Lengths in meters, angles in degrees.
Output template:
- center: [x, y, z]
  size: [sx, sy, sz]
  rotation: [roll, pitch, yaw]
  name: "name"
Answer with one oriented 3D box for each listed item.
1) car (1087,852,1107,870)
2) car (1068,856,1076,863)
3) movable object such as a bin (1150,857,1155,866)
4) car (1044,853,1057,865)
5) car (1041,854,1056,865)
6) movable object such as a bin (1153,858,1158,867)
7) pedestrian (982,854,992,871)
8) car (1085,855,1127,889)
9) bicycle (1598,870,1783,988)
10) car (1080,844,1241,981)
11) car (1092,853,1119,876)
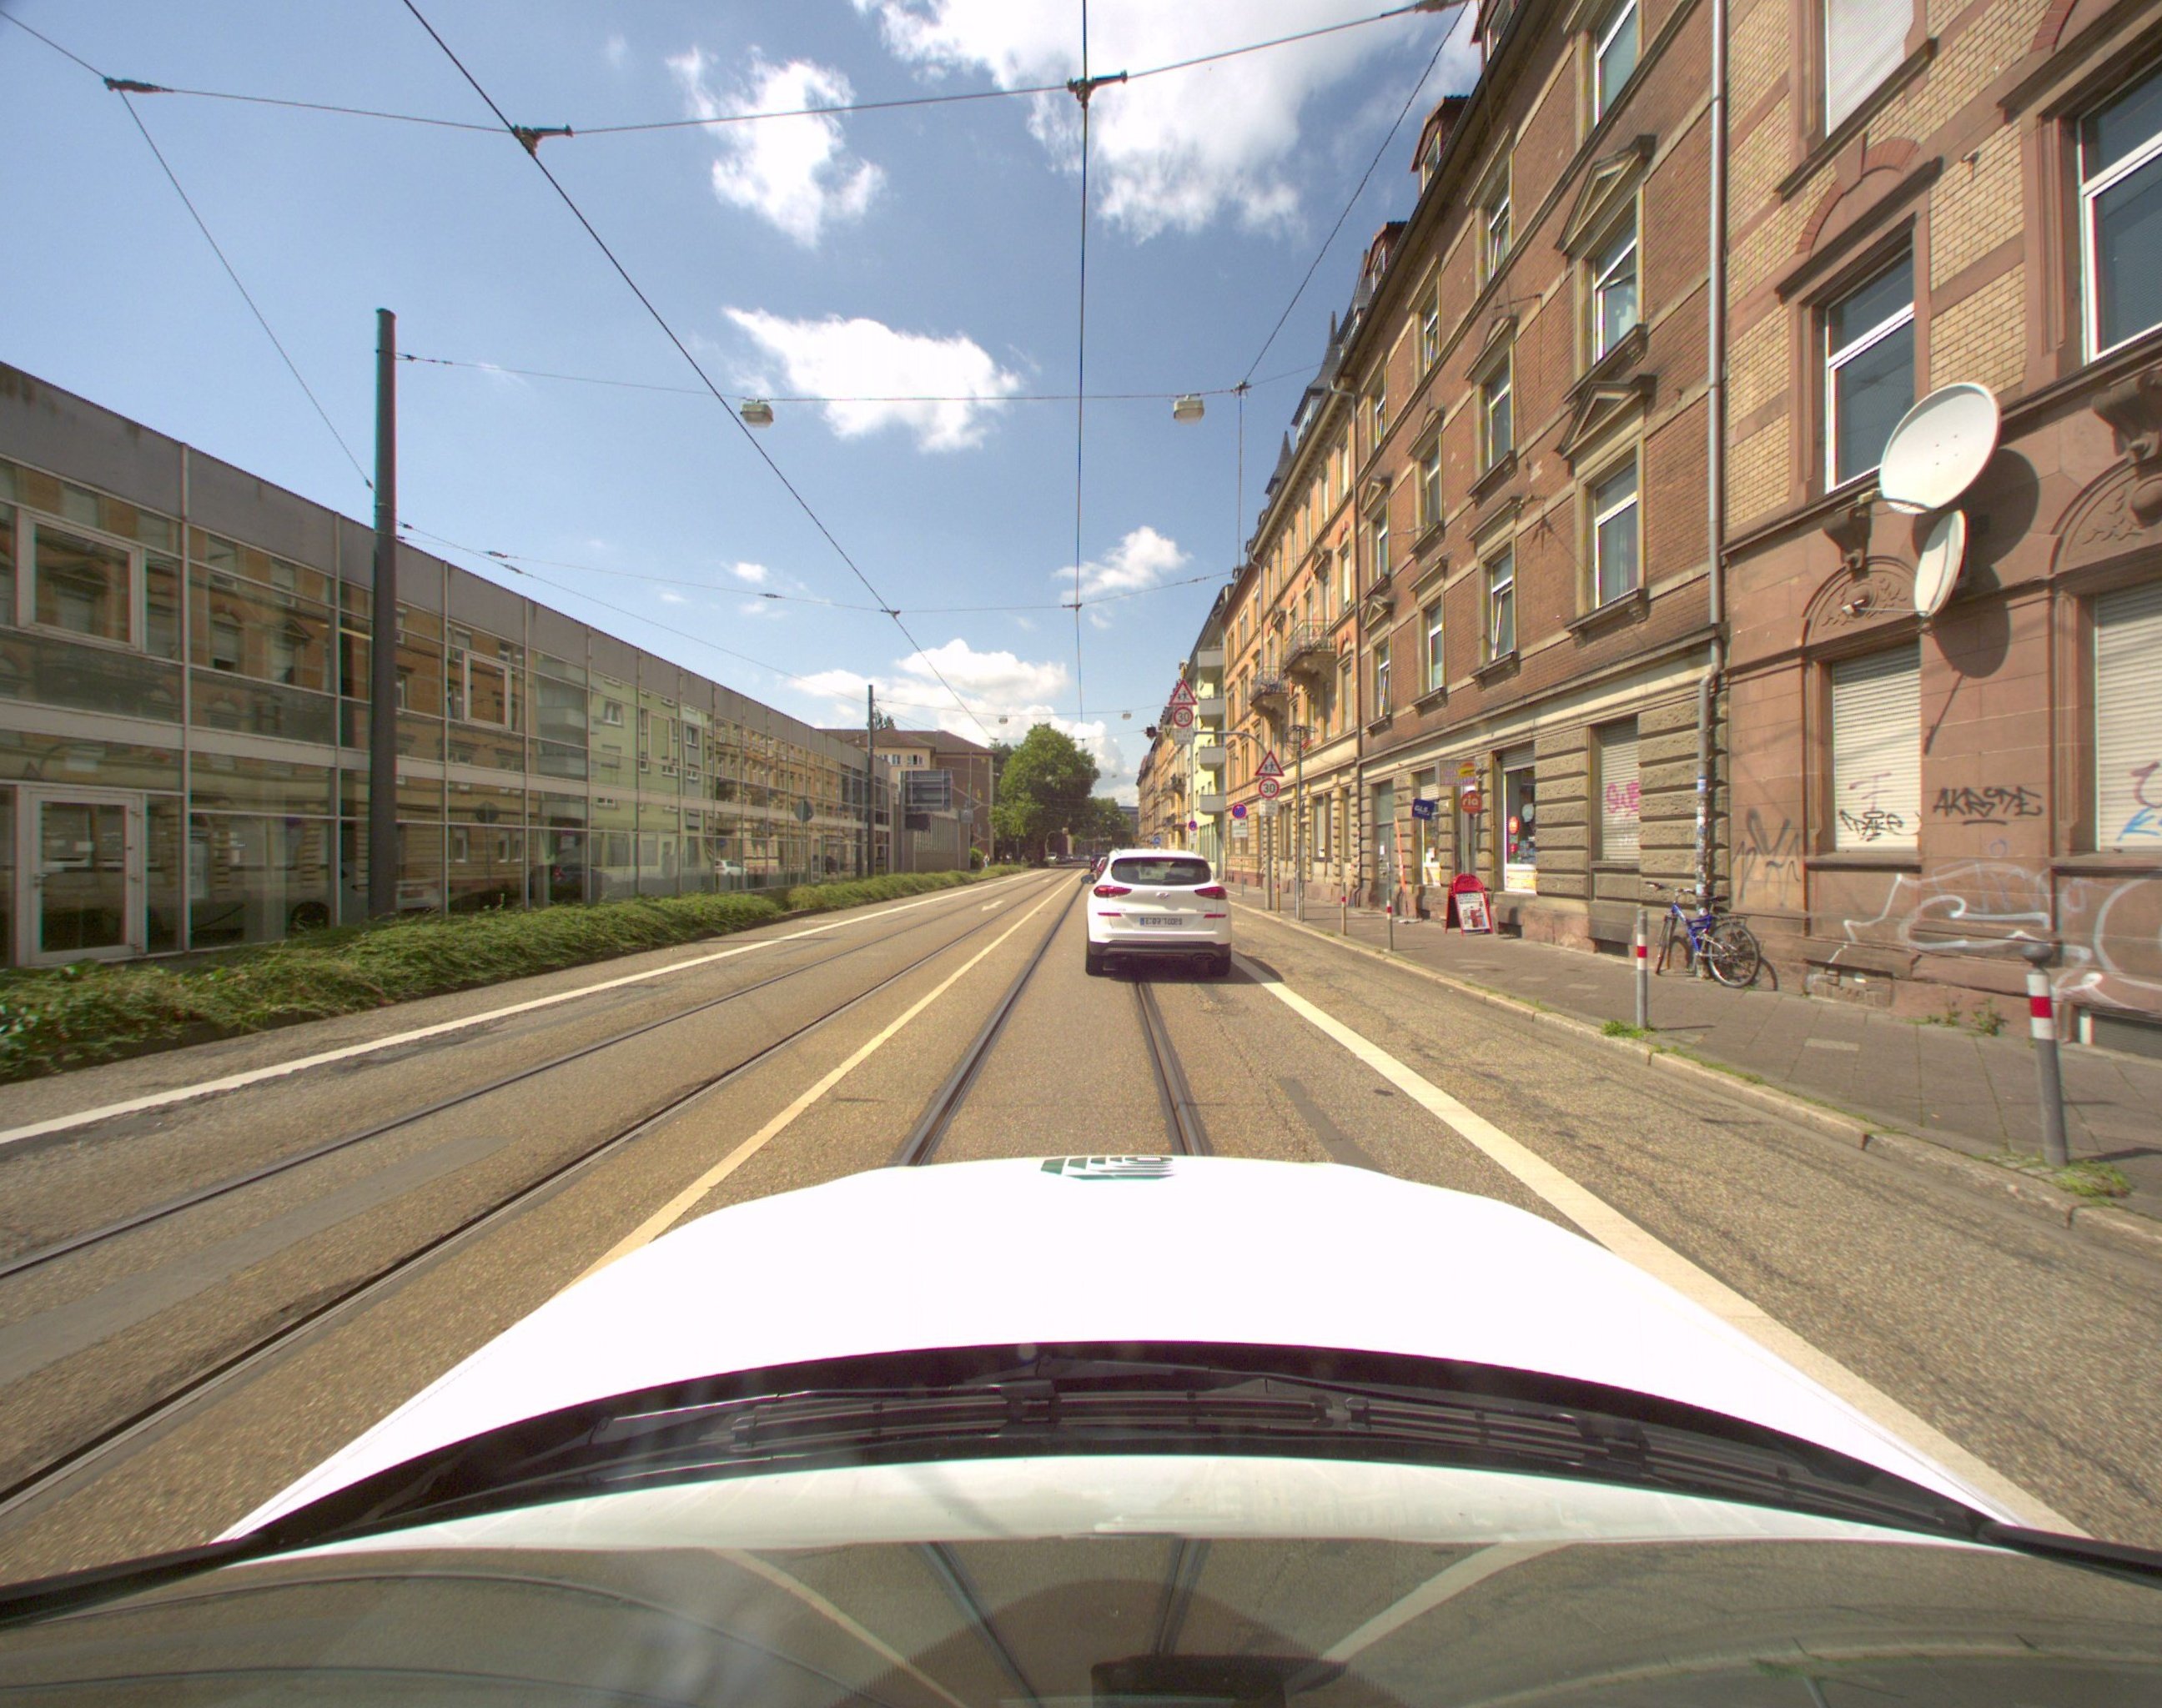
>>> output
- center: [1.490, 0.635, 75.934]
  size: [1.808, 1.662, 4.086]
  rotation: [0, 0, 1]
  name: "car"
- center: [-2.202, 1.269, 198.614]
  size: [1.944, 1.632, 3.998]
  rotation: [1, 0, -1]
  name: "car"
- center: [8.744, 0.910, 99.797]
  size: [0.610, 1.143, 0.639]
  rotation: [1, 0, 1]
  name: "movable object such as a bin"
- center: [-5.005, 0.754, 134.652]
  size: [1.943, 1.895, 4.566]
  rotation: [1, 0, 1]
  name: "car"
- center: [-5.104, 0.839, 128.480]
  size: [1.943, 1.632, 4.577]
  rotation: [1, 0, 1]
  name: "car"
- center: [8.969, 1.043, 98.361]
  size: [0.610, 1.143, 0.639]
  rotation: [1, 0, 1]
  name: "movable object such as a bin"
- center: [-10.094, 0.893, 87.702]
  size: [0.877, 1.865, 1.081]
  rotation: [-1, 0, 1]
  name: "pedestrian"
- center: [1.265, 0.824, 38.928]
  size: [1.806, 1.524, 4.090]
  rotation: [-1, 0, 4]
  name: "car"
- center: [7.050, 0.806, 9.585]
  size: [0.584, 1.178, 2.206]
  rotation: [-1, 0, 2]
  name: "bicycle"
- center: [0.958, 0.712, 11.873]
  size: [1.847, 1.634, 4.178]
  rotation: [1, 0, -1]
  name: "car"
- center: [1.713, 0.707, 56.848]
  size: [1.808, 1.524, 3.957]
  rotation: [-1, 0, 1]
  name: "car"
